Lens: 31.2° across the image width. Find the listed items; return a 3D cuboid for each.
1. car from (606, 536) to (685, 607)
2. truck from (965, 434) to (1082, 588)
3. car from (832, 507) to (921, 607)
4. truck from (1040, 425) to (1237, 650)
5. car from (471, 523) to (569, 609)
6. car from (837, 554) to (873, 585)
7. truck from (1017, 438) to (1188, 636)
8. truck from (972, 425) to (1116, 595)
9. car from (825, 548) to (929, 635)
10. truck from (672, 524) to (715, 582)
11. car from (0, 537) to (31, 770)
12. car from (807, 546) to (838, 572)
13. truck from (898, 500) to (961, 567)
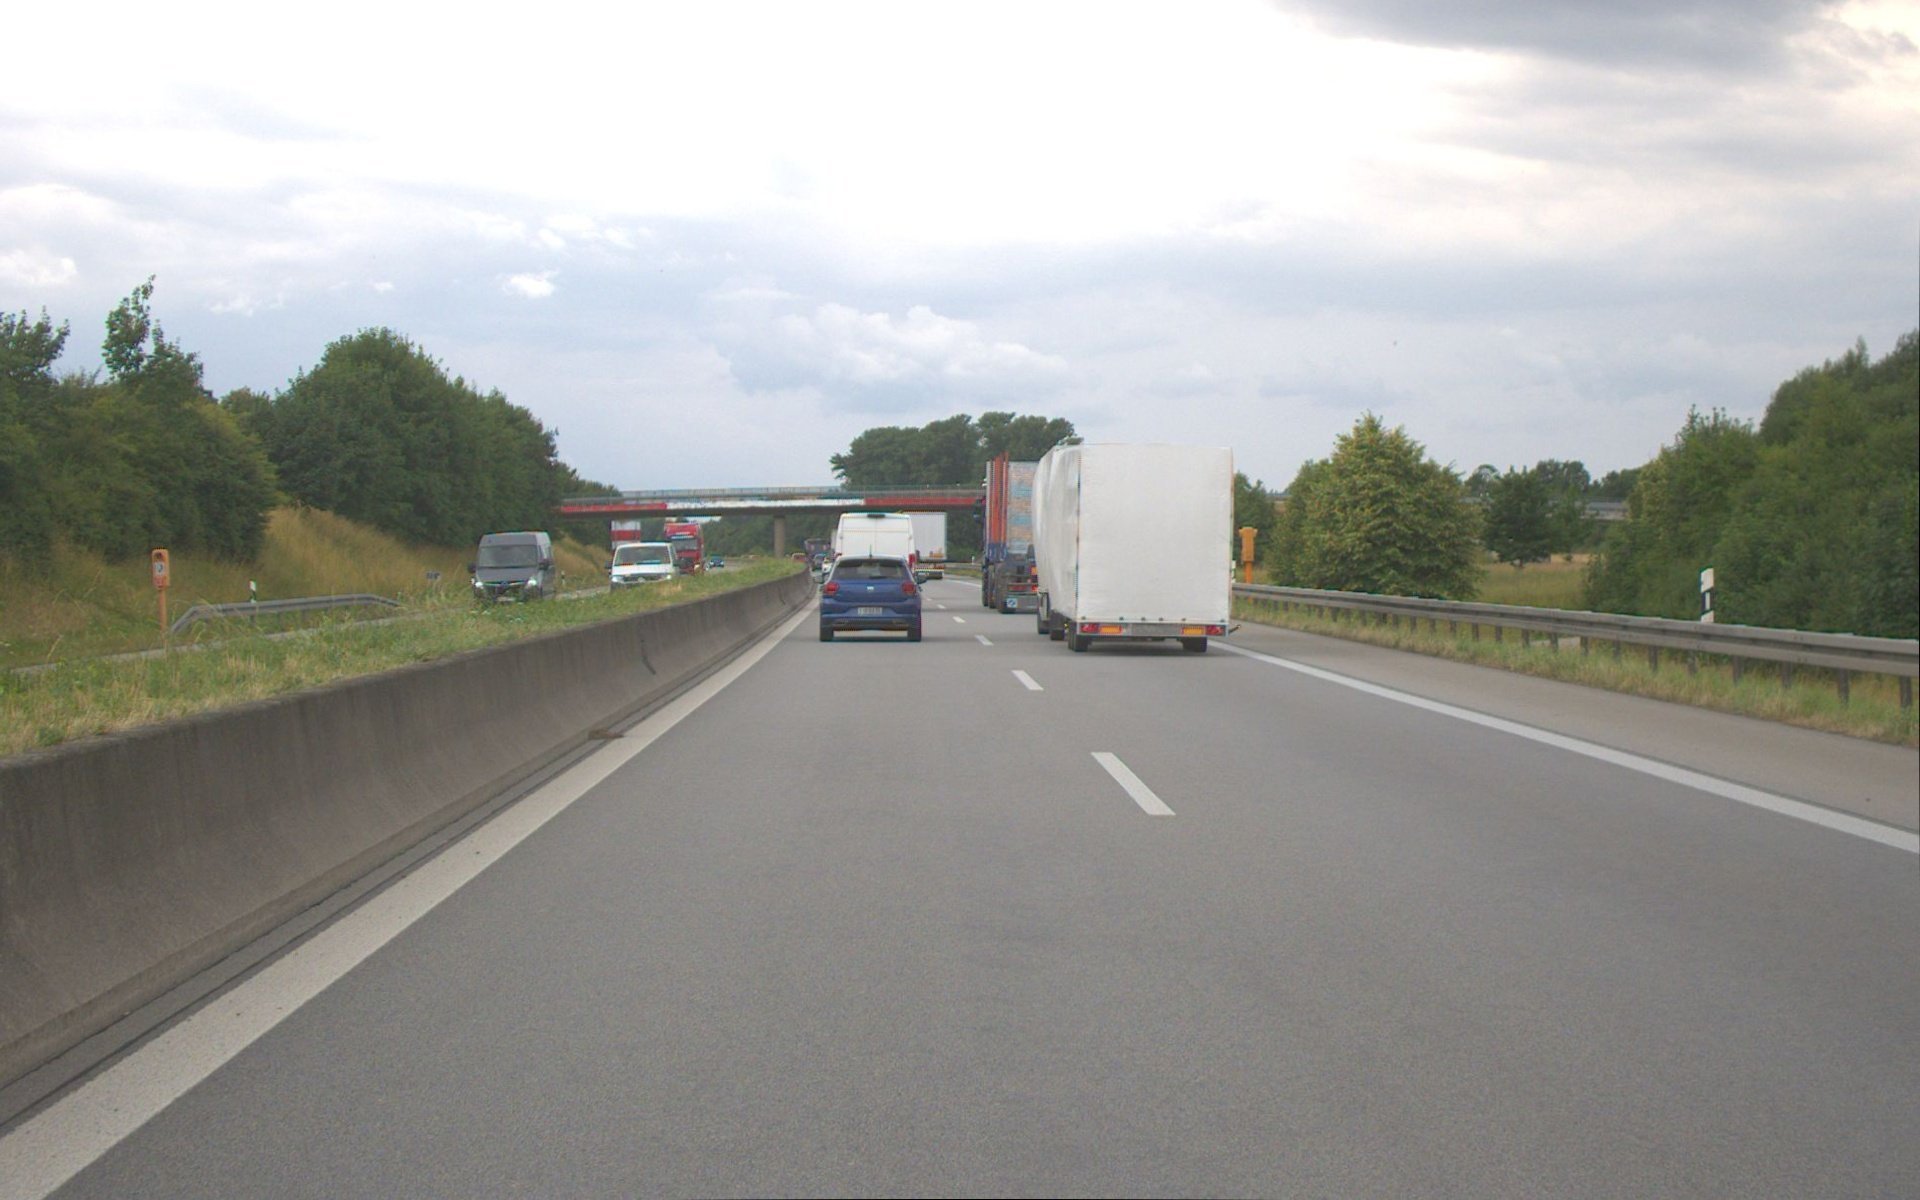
[{"bbox_3d":[-9.208,-0.866,101.125,1.979,2.007,5.131,0,1,-2],"label":"car"},{"bbox_3d":[1.684,-2.405,93.413,2.673,4.032,5.513,-1,1,-4],"label":"truck"},{"bbox_3d":[-2.191,-1.103,88.639,2.130,2.474,5.840,-1,1,-3],"label":"car"},{"bbox_3d":[2.624,-0.943,52.536,2.415,3.211,7.144,0,1,-2],"label":"truck"},{"bbox_3d":[-13.361,-1.043,104.764,2.169,2.456,6.724,-3,1,-1],"label":"car"},{"bbox_3d":[-5.833,-1.704,190.489,1.935,1.638,4.904,-1,1,-2],"label":"car"},{"bbox_3d":[2.386,-1.080,59.726,2.429,3.232,7.248,0,1,-2],"label":"truck"},{"bbox_3d":[2.040,-2.281,88.014,2.673,4.032,11.109,-1,1,-4],"label":"truck"},{"bbox_3d":[-1.374,-0.168,58.096,1.663,1.402,3.648,0,1,0],"label":"car"},{"bbox_3d":[-19.438,-3.432,251.013,2.706,4.074,5.165,-3,1,-2],"label":"truck"},{"bbox_3d":[-7.924,0.446,23.471,1.919,1.688,4.597,-2,1,-1],"label":"car"},{"bbox_3d":[-9.006,-2.680,224.430,1.993,1.678,4.001,0,1,-3],"label":"car"},{"bbox_3d":[-1.837,-3.871,200.979,3.110,3.677,9.324,-2,1,-3],"label":"truck"}]
